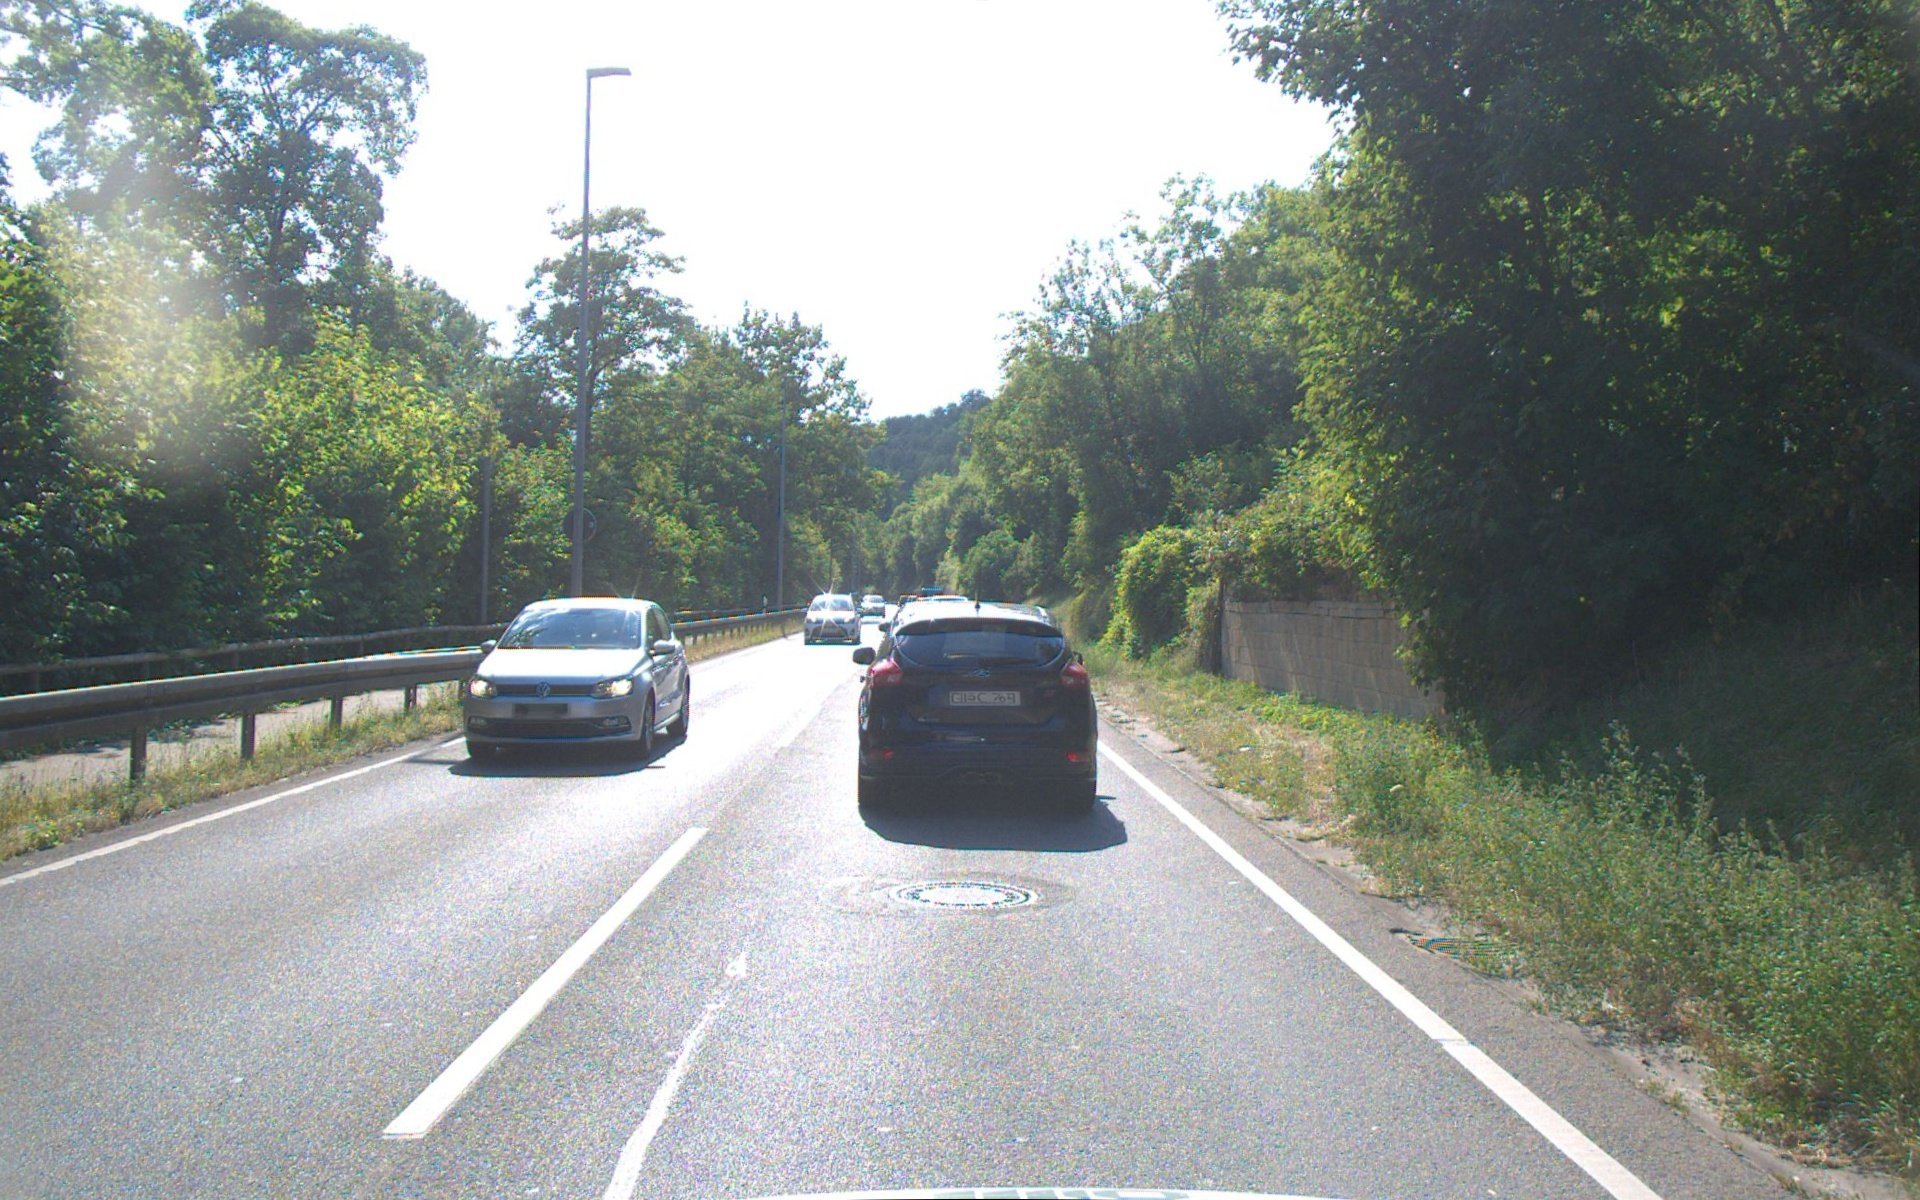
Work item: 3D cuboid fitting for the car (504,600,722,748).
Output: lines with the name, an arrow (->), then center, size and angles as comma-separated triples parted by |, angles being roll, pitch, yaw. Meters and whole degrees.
car -> -3.628, 0.710, 17.947 | 1.590, 1.401, 4.046 | 0, 0, -1

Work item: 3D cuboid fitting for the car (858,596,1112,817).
car -> 0.145, 0.724, 13.170 | 1.704, 1.482, 3.999 | 1, 0, -1

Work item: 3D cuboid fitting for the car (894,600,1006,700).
car -> -0.124, 0.736, 26.317 | 1.627, 1.443, 4.000 | 0, 0, 1

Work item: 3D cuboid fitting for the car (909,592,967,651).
car -> -0.636, 0.589, 47.553 | 1.597, 1.624, 3.999 | 0, 0, -1

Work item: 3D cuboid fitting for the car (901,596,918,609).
car -> -5.909, 0.294, 193.200 | 1.953, 1.545, 3.999 | 0, 0, -1

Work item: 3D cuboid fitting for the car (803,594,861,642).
car -> -4.128, 0.552, 53.778 | 1.647, 1.489, 4.196 | 1, 0, -1

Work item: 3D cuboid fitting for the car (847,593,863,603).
car -> -16.174, -0.339, 254.055 | 1.958, 1.545, 3.988 | 0, 0, -12

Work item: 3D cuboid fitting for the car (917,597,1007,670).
car -> 0.018, 0.663, 34.429 | 1.768, 1.416, 3.999 | 0, 0, -1

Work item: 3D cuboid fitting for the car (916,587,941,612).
car -> -2.418, -0.057, 125.214 | 1.826, 1.812, 3.998 | 0, 0, -3

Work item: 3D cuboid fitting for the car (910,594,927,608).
car -> -4.480, 0.083, 179.518 | 1.782, 1.545, 3.999 | 0, 0, -1

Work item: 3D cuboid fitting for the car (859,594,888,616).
car -> -5.839, 0.328, 111.935 | 1.738, 1.412, 3.999 | 0, 0, -1

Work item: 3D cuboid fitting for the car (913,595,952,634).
car -> -1.154, 0.596, 70.354 | 1.597, 1.624, 3.999 | 0, 0, -1

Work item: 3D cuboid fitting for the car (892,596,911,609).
car -> -7.192, 0.281, 203.524 | 1.956, 1.545, 3.993 | 0, 0, -8
